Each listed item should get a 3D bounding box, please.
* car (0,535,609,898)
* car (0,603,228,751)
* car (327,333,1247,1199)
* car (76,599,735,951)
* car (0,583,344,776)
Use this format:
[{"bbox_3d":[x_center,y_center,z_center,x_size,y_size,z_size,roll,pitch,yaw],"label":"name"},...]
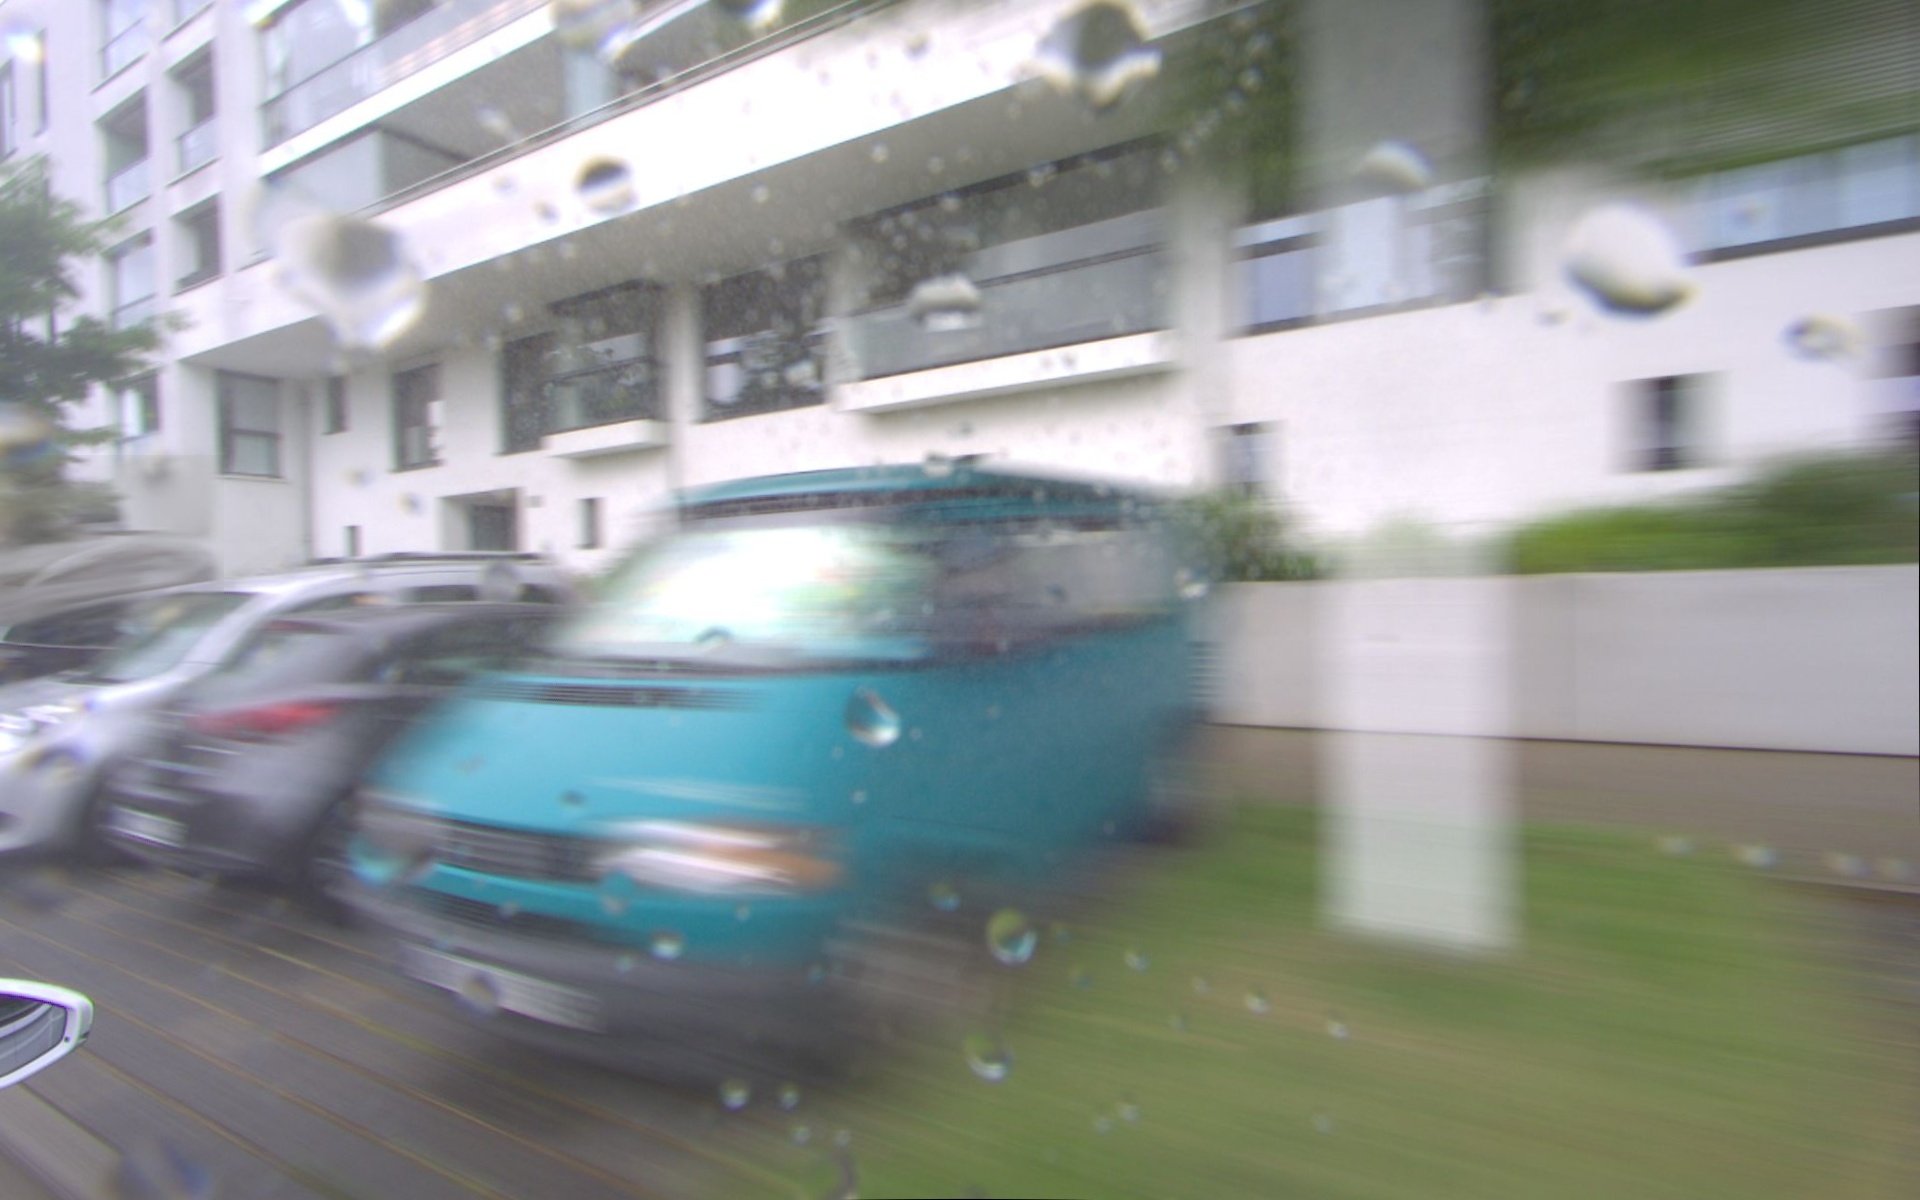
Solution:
[{"bbox_3d":[-4.820,0.593,7.279,1.702,1.920,4.083,-1,1,33],"label":"car"},{"bbox_3d":[-11.225,0.870,11.717,1.834,1.621,3.881,-1,0,26],"label":"car"},{"bbox_3d":[-0.108,0.423,4.790,1.830,2.046,4.612,-1,0,29],"label":"car"},{"bbox_3d":[-2.964,0.757,5.999,1.298,1.502,3.250,-1,0,30],"label":"car"},{"bbox_3d":[-8.781,0.720,10.206,1.834,1.703,3.881,-1,-1,26],"label":"car"}]
